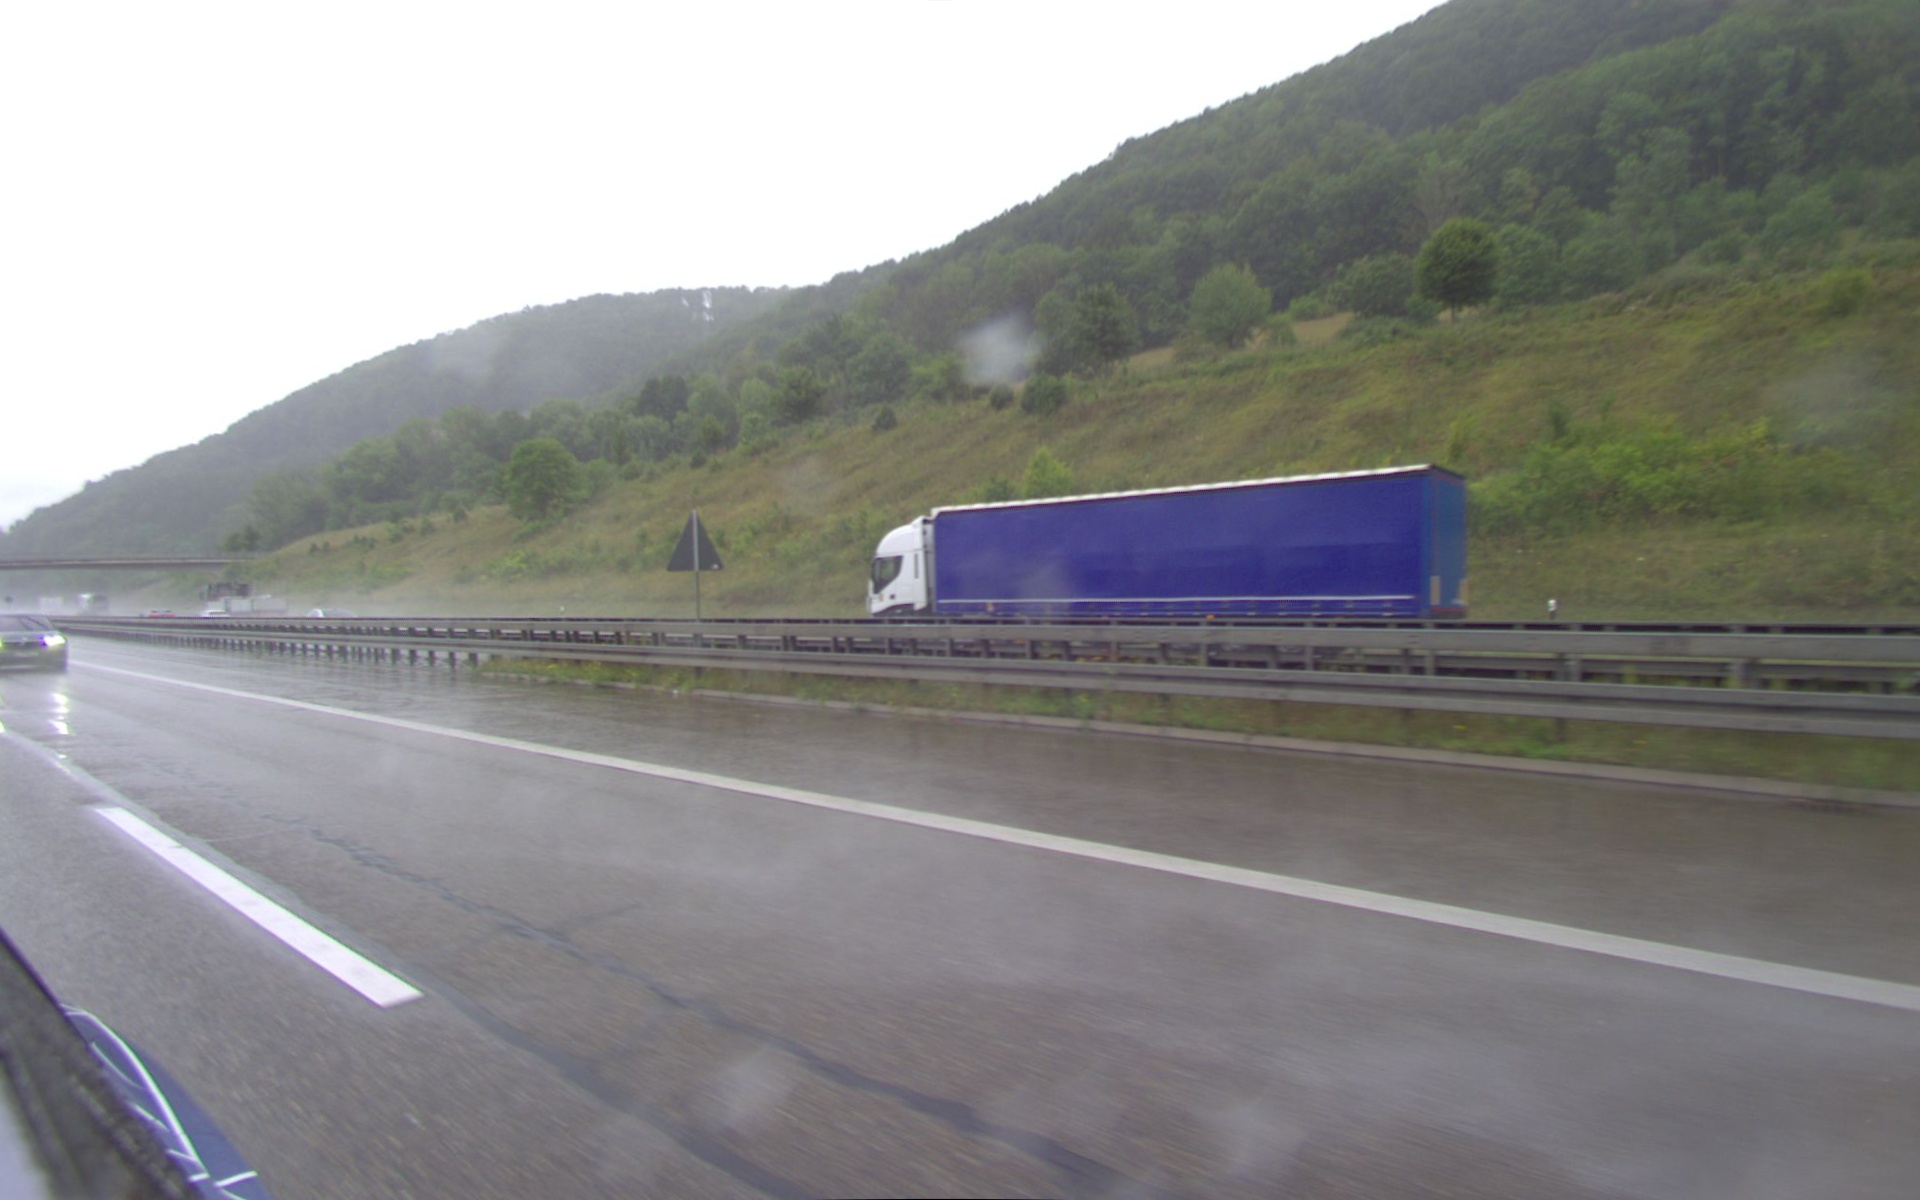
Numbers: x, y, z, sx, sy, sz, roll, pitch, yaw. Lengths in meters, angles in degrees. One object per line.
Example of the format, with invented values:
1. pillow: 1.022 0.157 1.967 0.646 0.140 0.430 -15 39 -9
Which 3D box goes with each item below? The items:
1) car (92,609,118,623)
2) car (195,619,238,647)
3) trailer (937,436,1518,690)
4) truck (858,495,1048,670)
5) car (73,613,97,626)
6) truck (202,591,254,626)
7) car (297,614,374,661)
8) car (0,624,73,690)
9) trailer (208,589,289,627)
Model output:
1. car: -130.235 2.453 154.126 4.704 2.029 2.361 -1 0 43
2. car: -57.772 2.551 78.622 3.999 2.029 1.972 -1 -1 42
3. trailer: 5.530 -0.590 24.883 14.036 4.822 2.708 -1 -1 41
4. truck: -0.275 -0.425 29.904 5.153 4.708 2.661 -1 -1 41
5. car: -142.104 3.104 164.301 4.704 2.029 2.361 -1 0 43
6. truck: -66.392 0.798 91.802 5.516 3.021 2.778 -1 -1 43
7. car: -28.823 1.700 46.644 3.999 2.029 1.972 -1 -1 42
8. car: -26.297 1.510 28.044 4.908 1.696 1.972 -1 -2 42
9. trailer: -61.470 0.753 87.167 14.900 3.076 2.782 -1 -1 43
